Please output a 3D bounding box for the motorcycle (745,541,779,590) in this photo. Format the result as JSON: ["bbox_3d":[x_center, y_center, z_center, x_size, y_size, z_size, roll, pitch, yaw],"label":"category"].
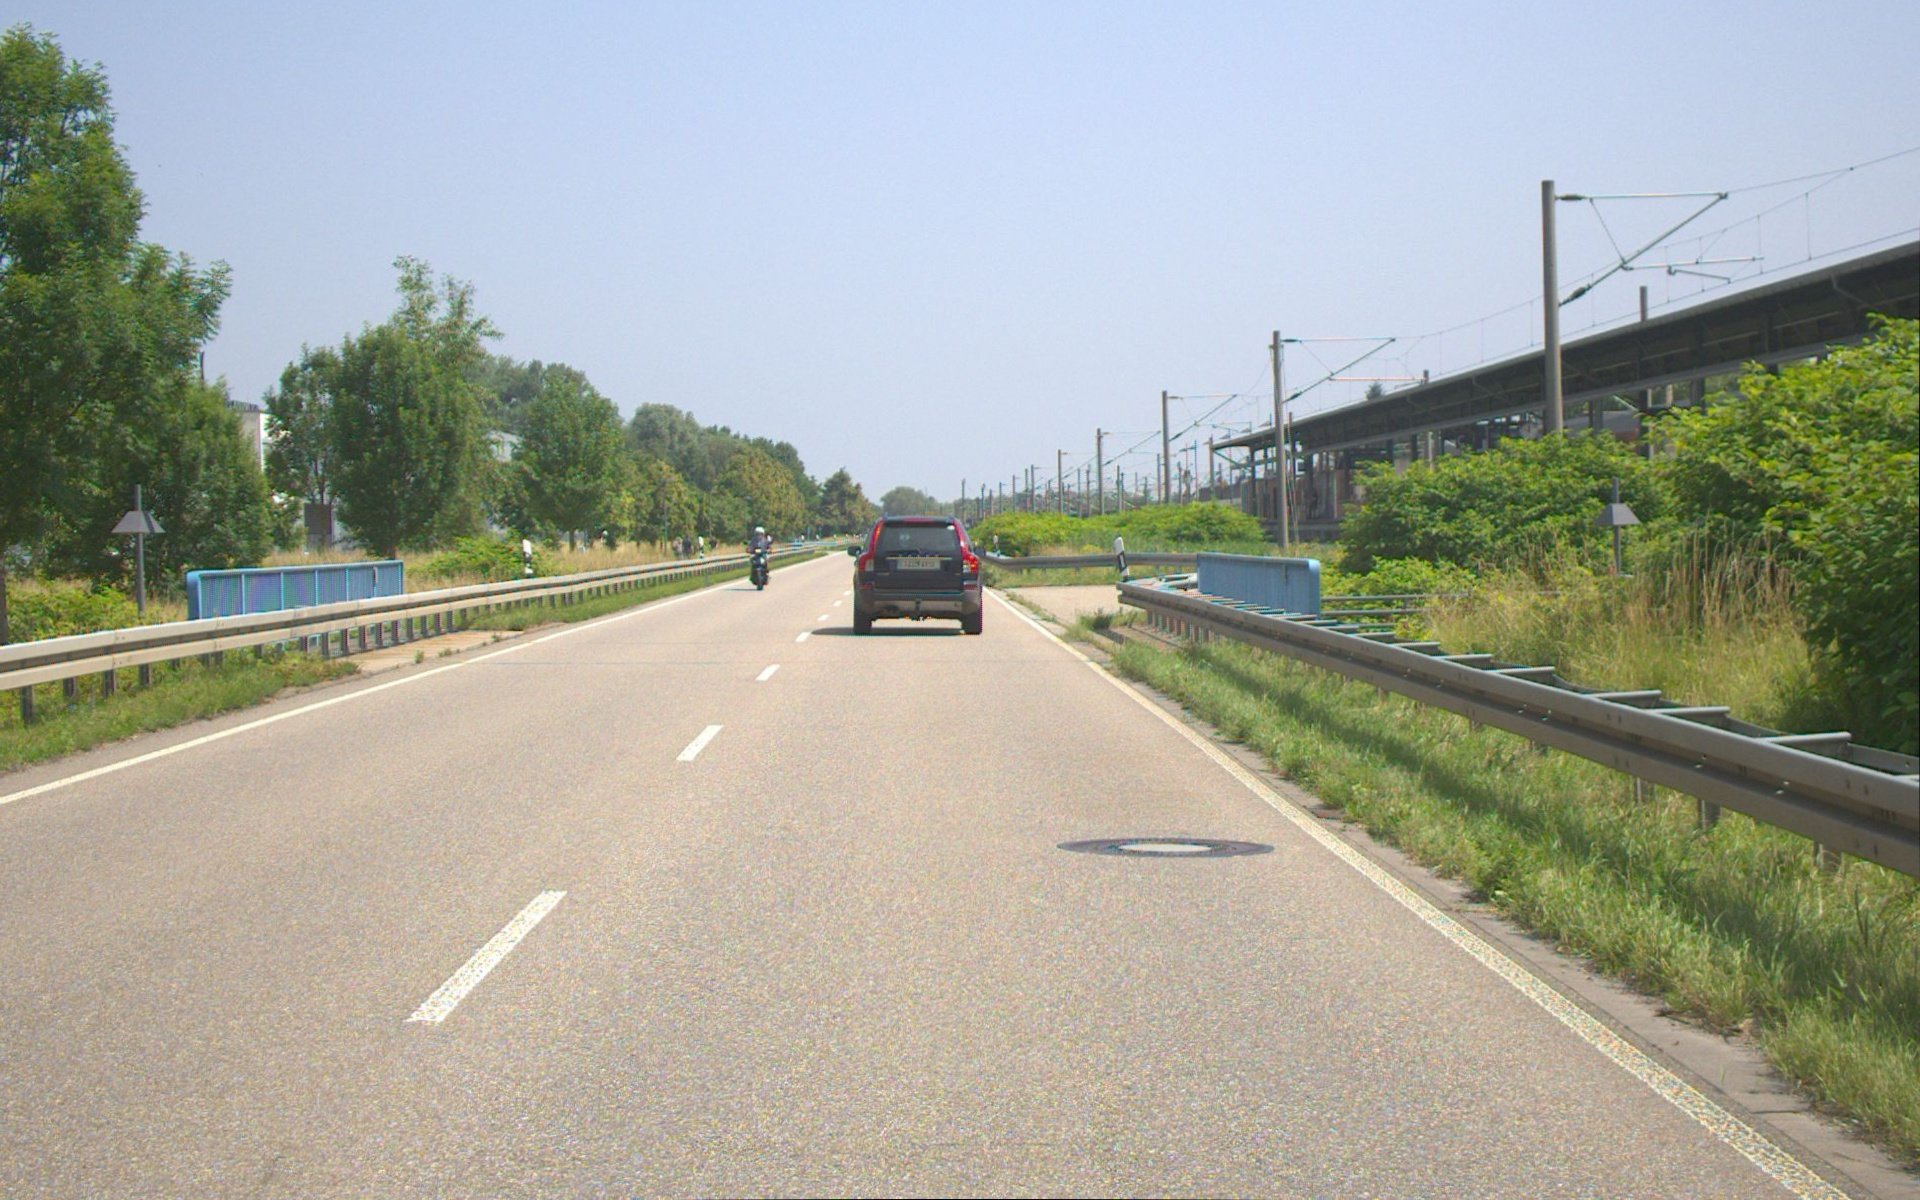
[{"bbox_3d":[-5.185,-0.912,90.000,0.689,1.230,2.369,0,1,2],"label":"motorcycle"}]

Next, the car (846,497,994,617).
[{"bbox_3d":[-0.631,-0.658,50.857,1.993,1.694,4.001,-1,1,-3],"label":"car"}]

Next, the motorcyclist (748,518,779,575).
[{"bbox_3d":[-5.139,-1.406,90.027,0.726,1.460,0.987,0,1,2],"label":"motorcyclist"}]
